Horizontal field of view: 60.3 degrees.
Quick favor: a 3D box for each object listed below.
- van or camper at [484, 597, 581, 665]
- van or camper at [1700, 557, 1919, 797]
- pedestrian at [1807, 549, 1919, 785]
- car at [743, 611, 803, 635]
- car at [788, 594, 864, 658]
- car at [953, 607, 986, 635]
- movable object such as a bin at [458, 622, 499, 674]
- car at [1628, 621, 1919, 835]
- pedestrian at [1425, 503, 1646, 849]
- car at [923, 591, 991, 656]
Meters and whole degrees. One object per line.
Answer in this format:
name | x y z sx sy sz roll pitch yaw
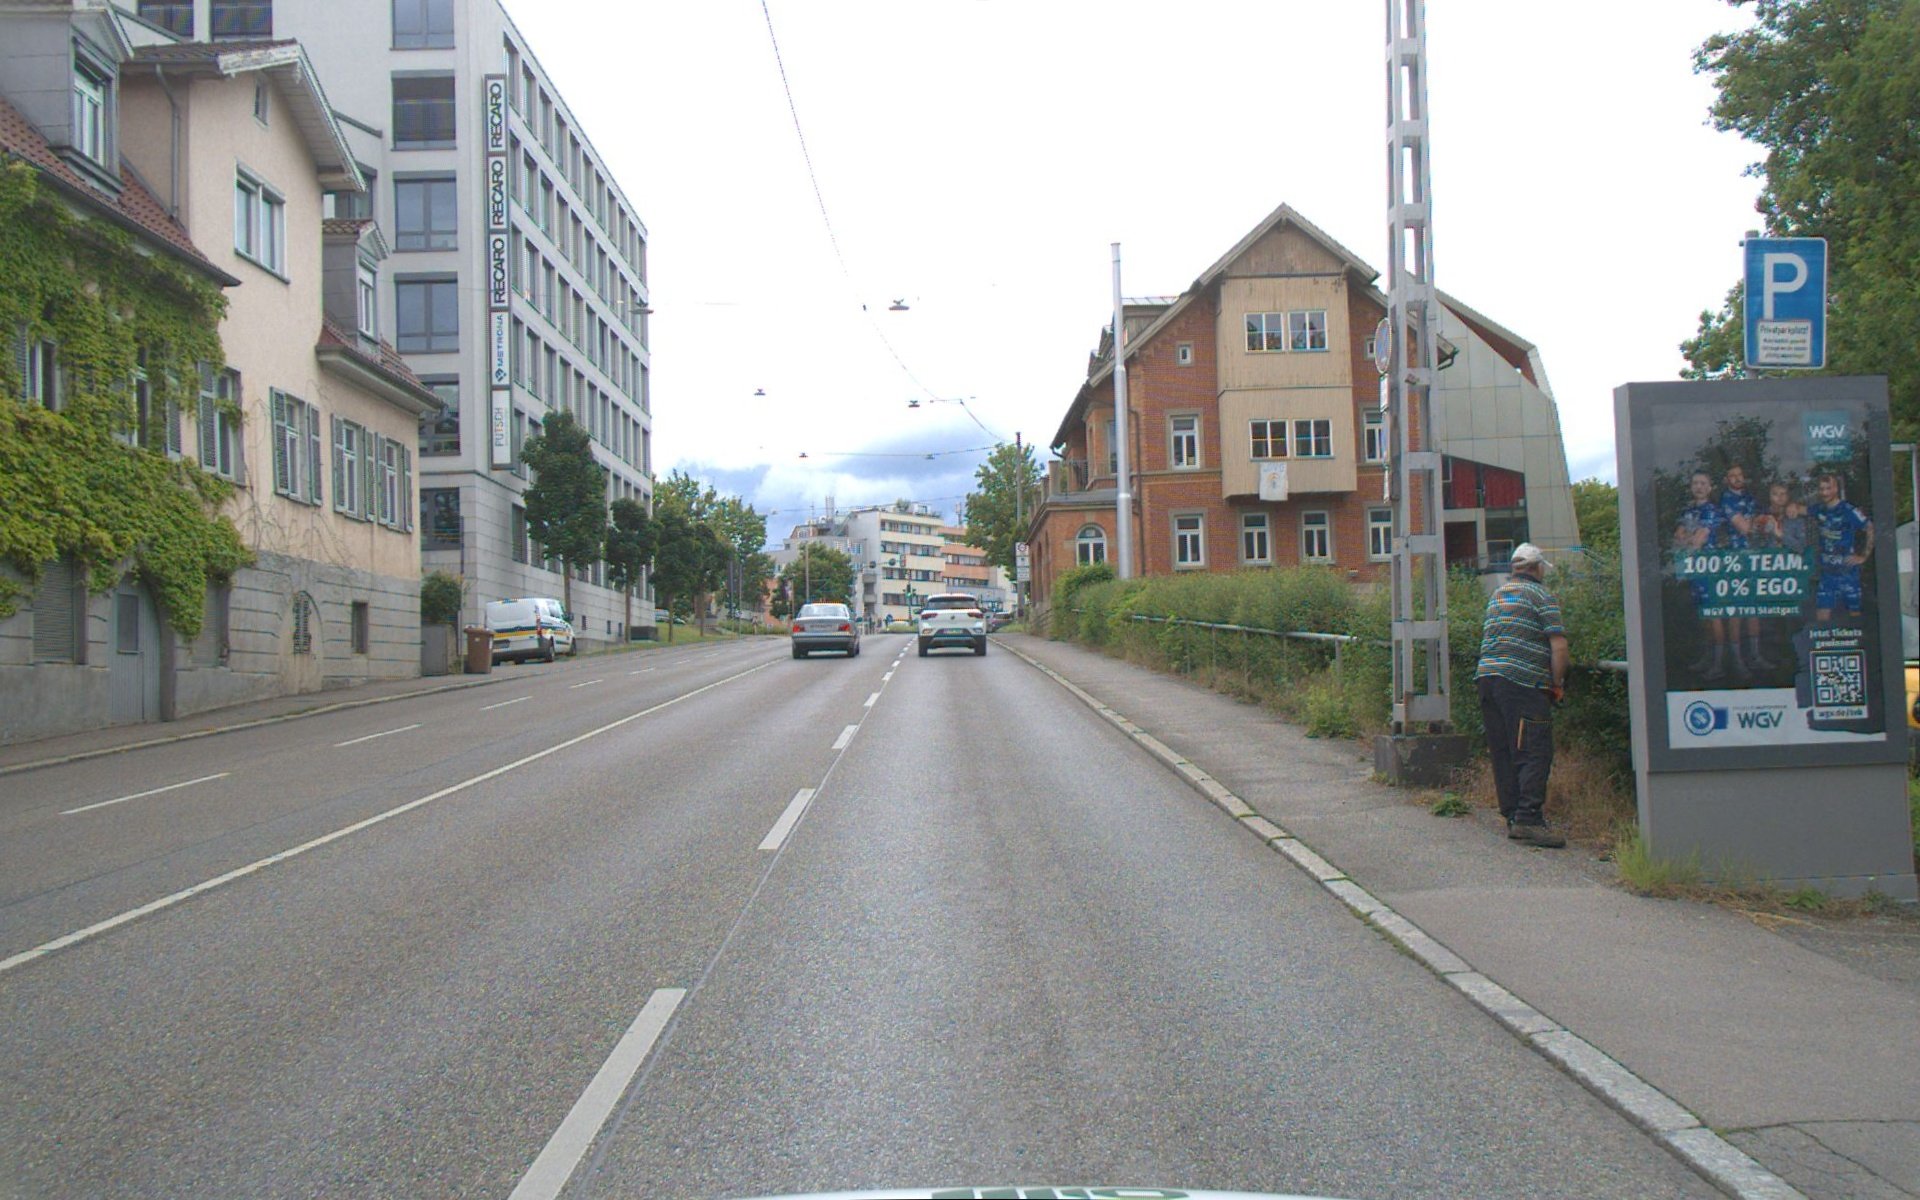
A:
van or camper | -13.513 0.929 52.583 2.019 2.002 4.869 -2 0 -3
van or camper | 10.835 0.716 19.630 2.169 2.370 6.185 -3 0 10
pedestrian | 6.454 0.458 11.665 0.631 1.599 0.586 -3 0 8
car | -12.832 1.591 113.623 1.751 1.571 3.974 -2 -2 43
car | -3.457 0.651 43.200 1.665 1.542 3.735 -2 0 -1
car | 0.600 1.251 100.344 1.733 1.598 4.287 -2 -1 4
movable object such as a bin | -11.489 1.145 39.476 0.794 1.210 0.697 2 -1 -7
car | 7.420 1.002 13.330 3.415 1.568 1.577 1 0 0
pedestrian | 3.396 0.424 9.829 0.798 1.917 0.946 -3 0 -11
car | -0.108 0.590 43.179 1.665 1.575 3.735 1 0 -1
